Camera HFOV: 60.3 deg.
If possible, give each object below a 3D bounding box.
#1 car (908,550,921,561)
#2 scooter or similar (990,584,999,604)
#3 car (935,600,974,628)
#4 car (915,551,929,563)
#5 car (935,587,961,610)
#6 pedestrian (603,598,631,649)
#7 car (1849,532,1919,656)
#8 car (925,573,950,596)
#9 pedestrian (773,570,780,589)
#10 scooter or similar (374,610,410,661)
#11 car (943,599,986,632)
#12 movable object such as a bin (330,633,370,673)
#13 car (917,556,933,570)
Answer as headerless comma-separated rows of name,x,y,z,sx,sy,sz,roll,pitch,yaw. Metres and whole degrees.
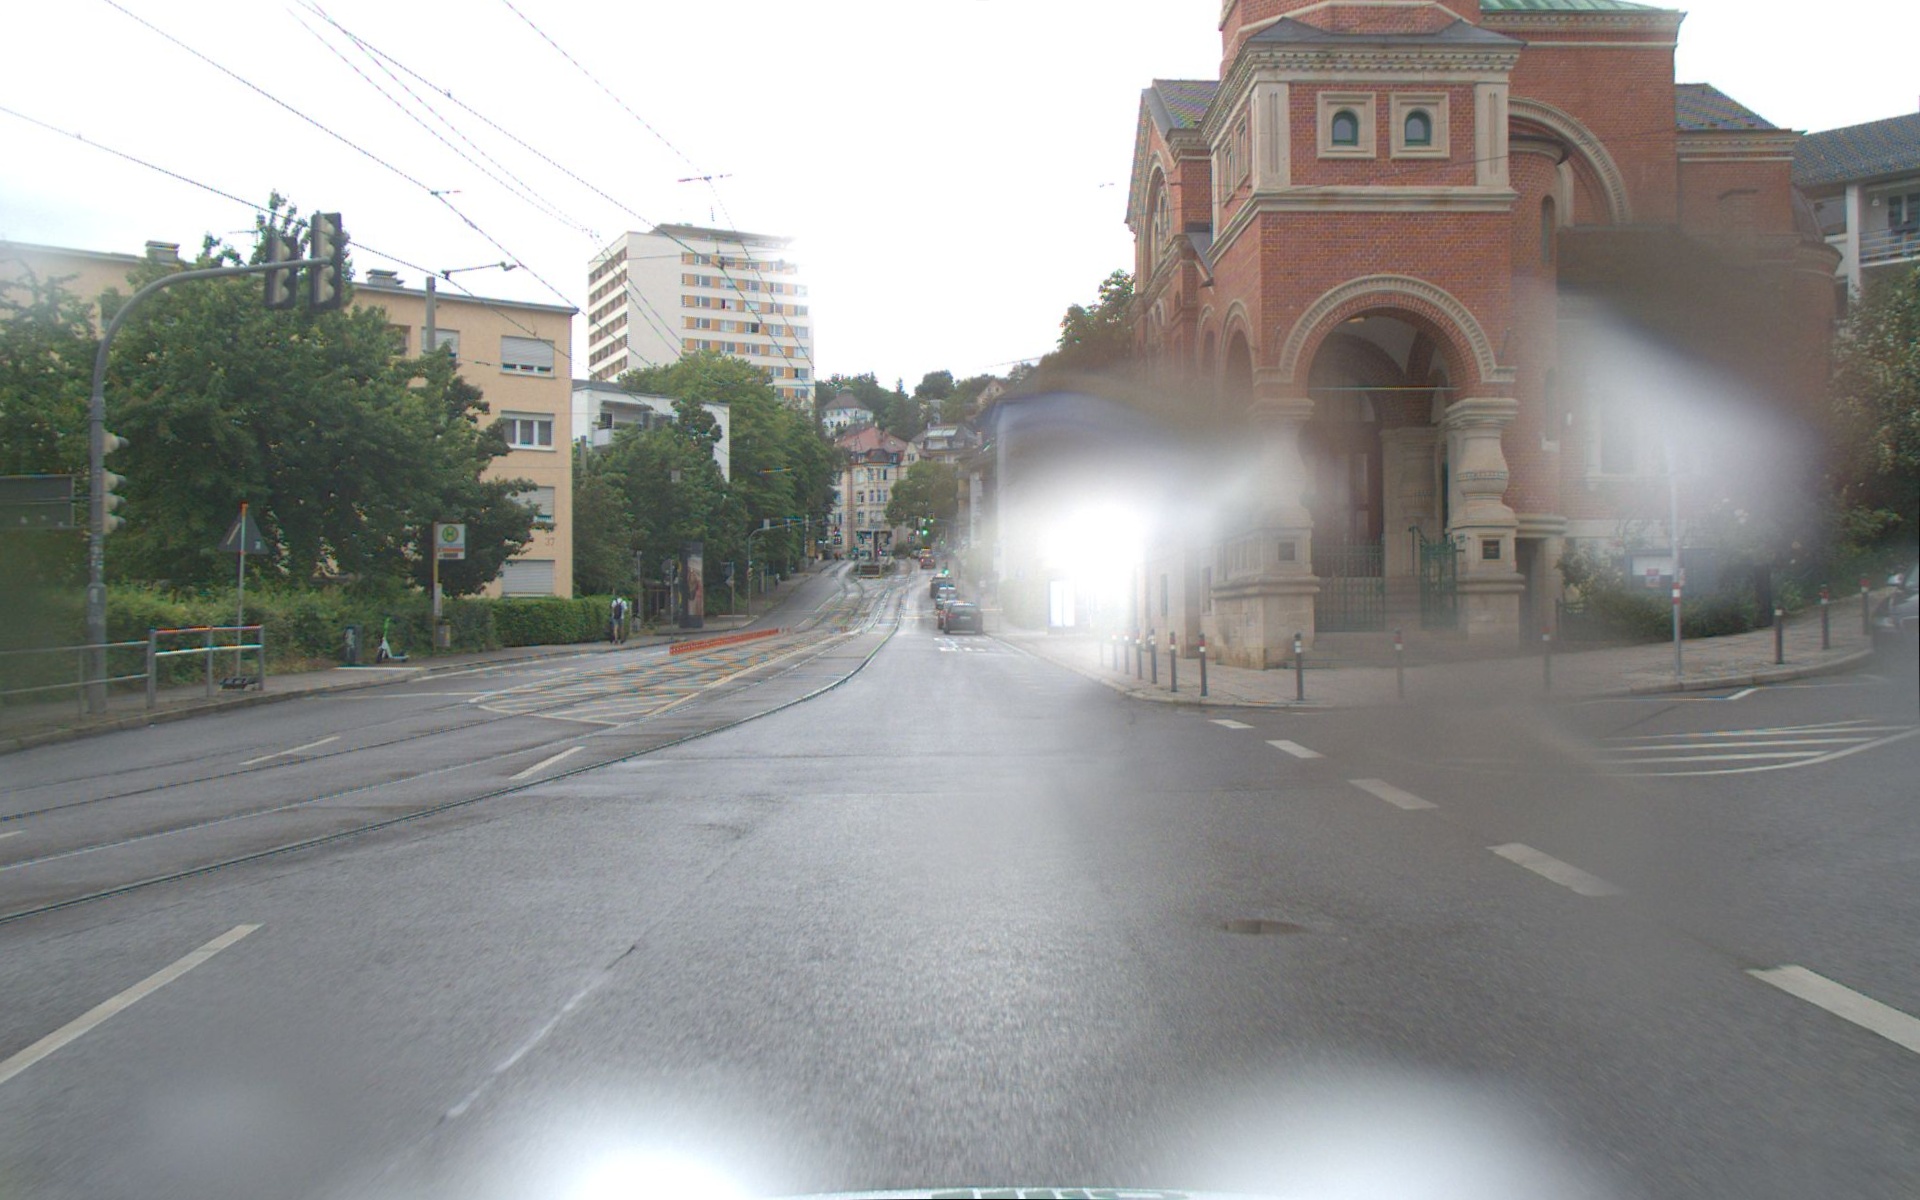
car,-7.116,-7.036,258.783,1.868,1.670,4.688,0,2,-2
scooter or similar,2.427,-0.425,116.025,0.562,1.270,1.612,0,4,4
car,-0.313,0.762,90.323,1.901,1.489,4.203,0,0,-4
car,-5.349,-6.033,232.106,1.868,1.670,4.688,0,2,-2
car,-0.849,-0.097,115.256,1.670,1.458,4.100,0,2,-2
pedestrian,-12.734,0.869,61.441,0.901,1.878,1.016,1,-1,-6
car,13.590,-0.231,21.994,1.910,1.391,4.450,-5,2,44
car,-1.827,-1.231,131.499,1.868,1.670,4.688,0,2,-2
pedestrian,-16.218,-1.789,146.354,0.571,1.628,0.868,1,1,-5
scooter or similar,-13.499,0.844,39.358,0.562,1.205,1.596,0,-1,-10
car,0.169,0.731,78.769,1.821,1.513,4.642,0,0,-3
movable object such as a bin,-13.734,1.184,37.244,0.673,0.897,0.759,0,-1,-7
car,-4.251,-4.572,203.385,1.764,1.674,4.001,0,0,2
